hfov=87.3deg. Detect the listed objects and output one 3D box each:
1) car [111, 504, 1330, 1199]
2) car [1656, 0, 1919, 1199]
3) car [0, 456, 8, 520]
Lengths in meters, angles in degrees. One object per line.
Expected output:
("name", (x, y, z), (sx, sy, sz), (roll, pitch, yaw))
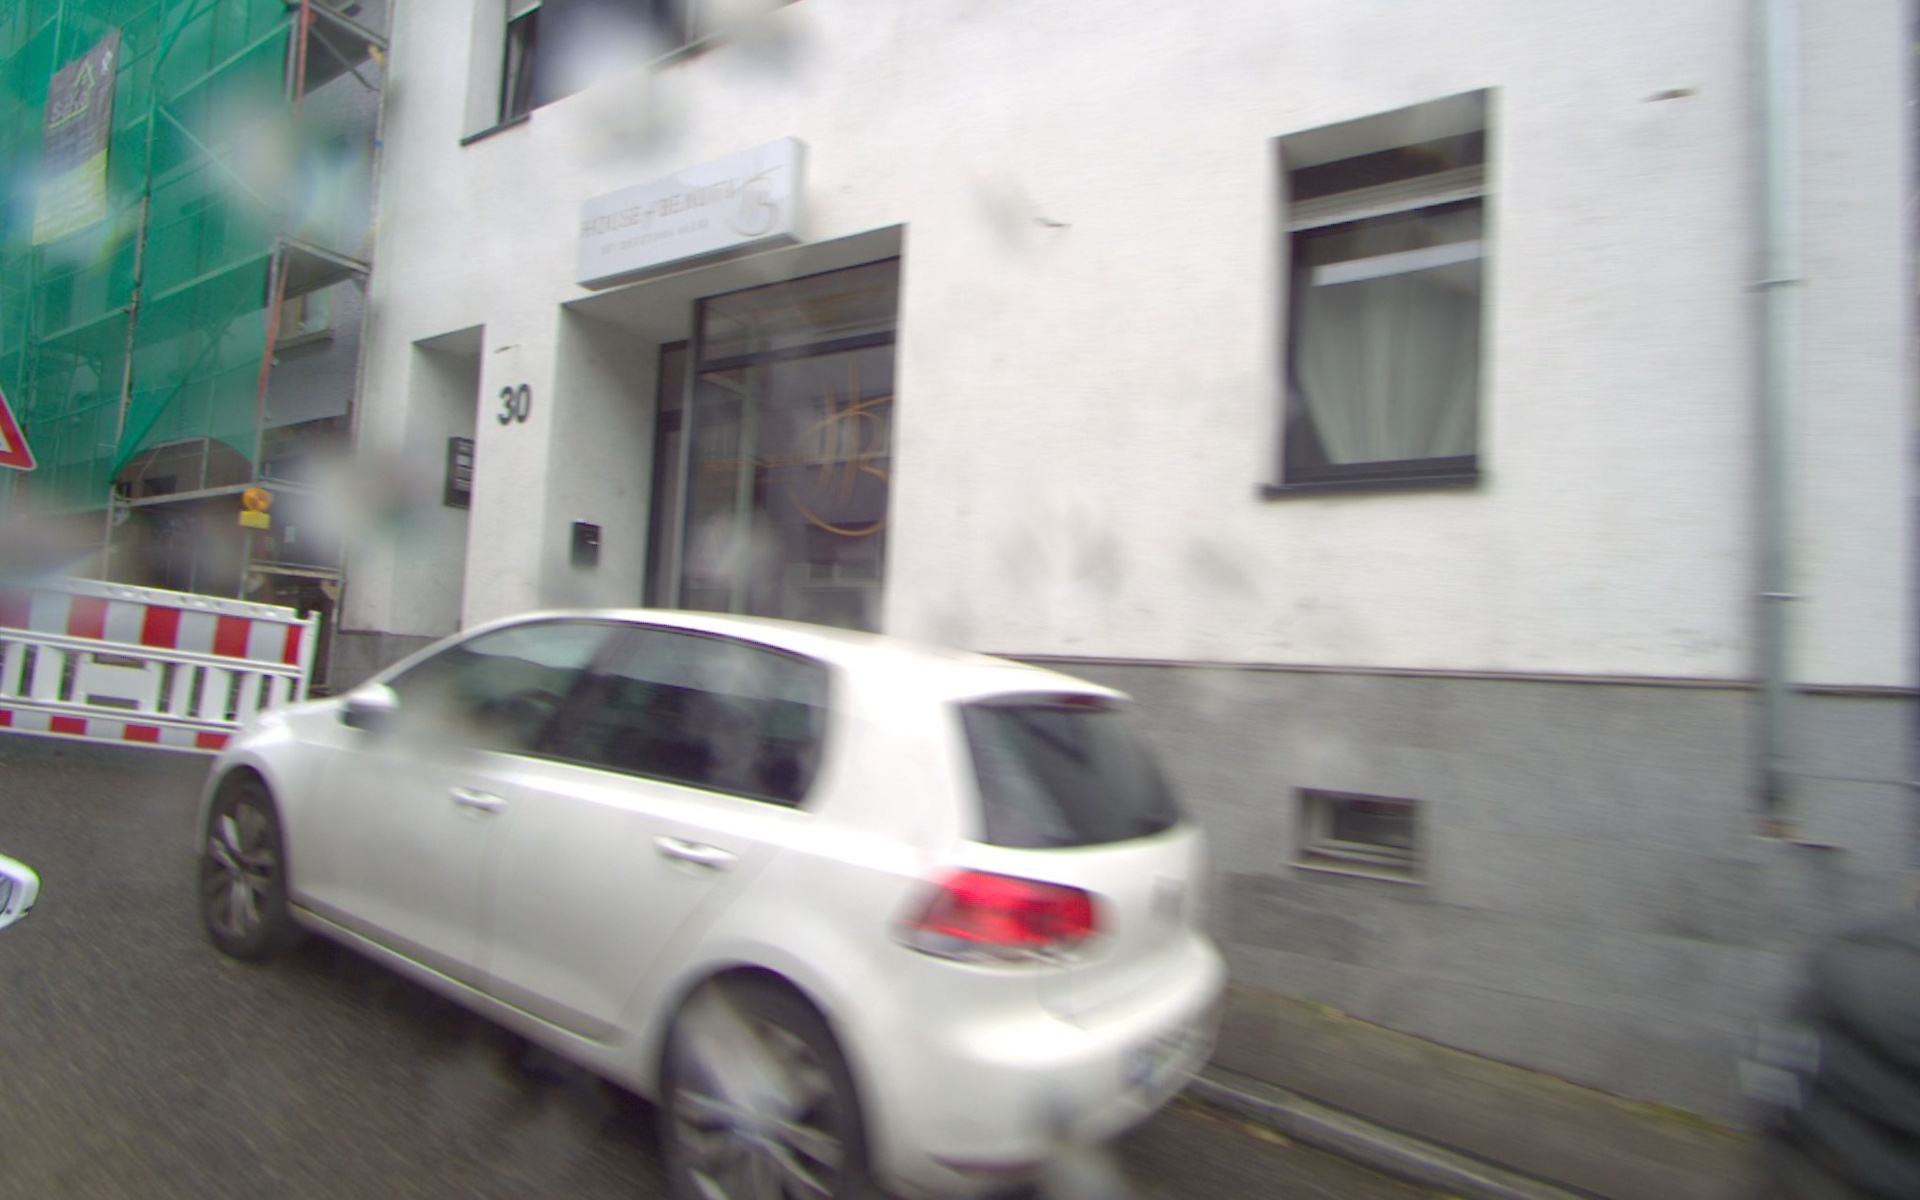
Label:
("car", (-1.078, 0.678, 3.870), (4.266, 1.528, 1.999), (6, -3, 32))
("car", (3.959, 0.712, 0.456), (5.741, 2.440, 1.998), (5, -4, 32))
("car", (-27.701, -3.122, 26.265), (1.699, 1.726, 3.824), (7, 4, 30))
